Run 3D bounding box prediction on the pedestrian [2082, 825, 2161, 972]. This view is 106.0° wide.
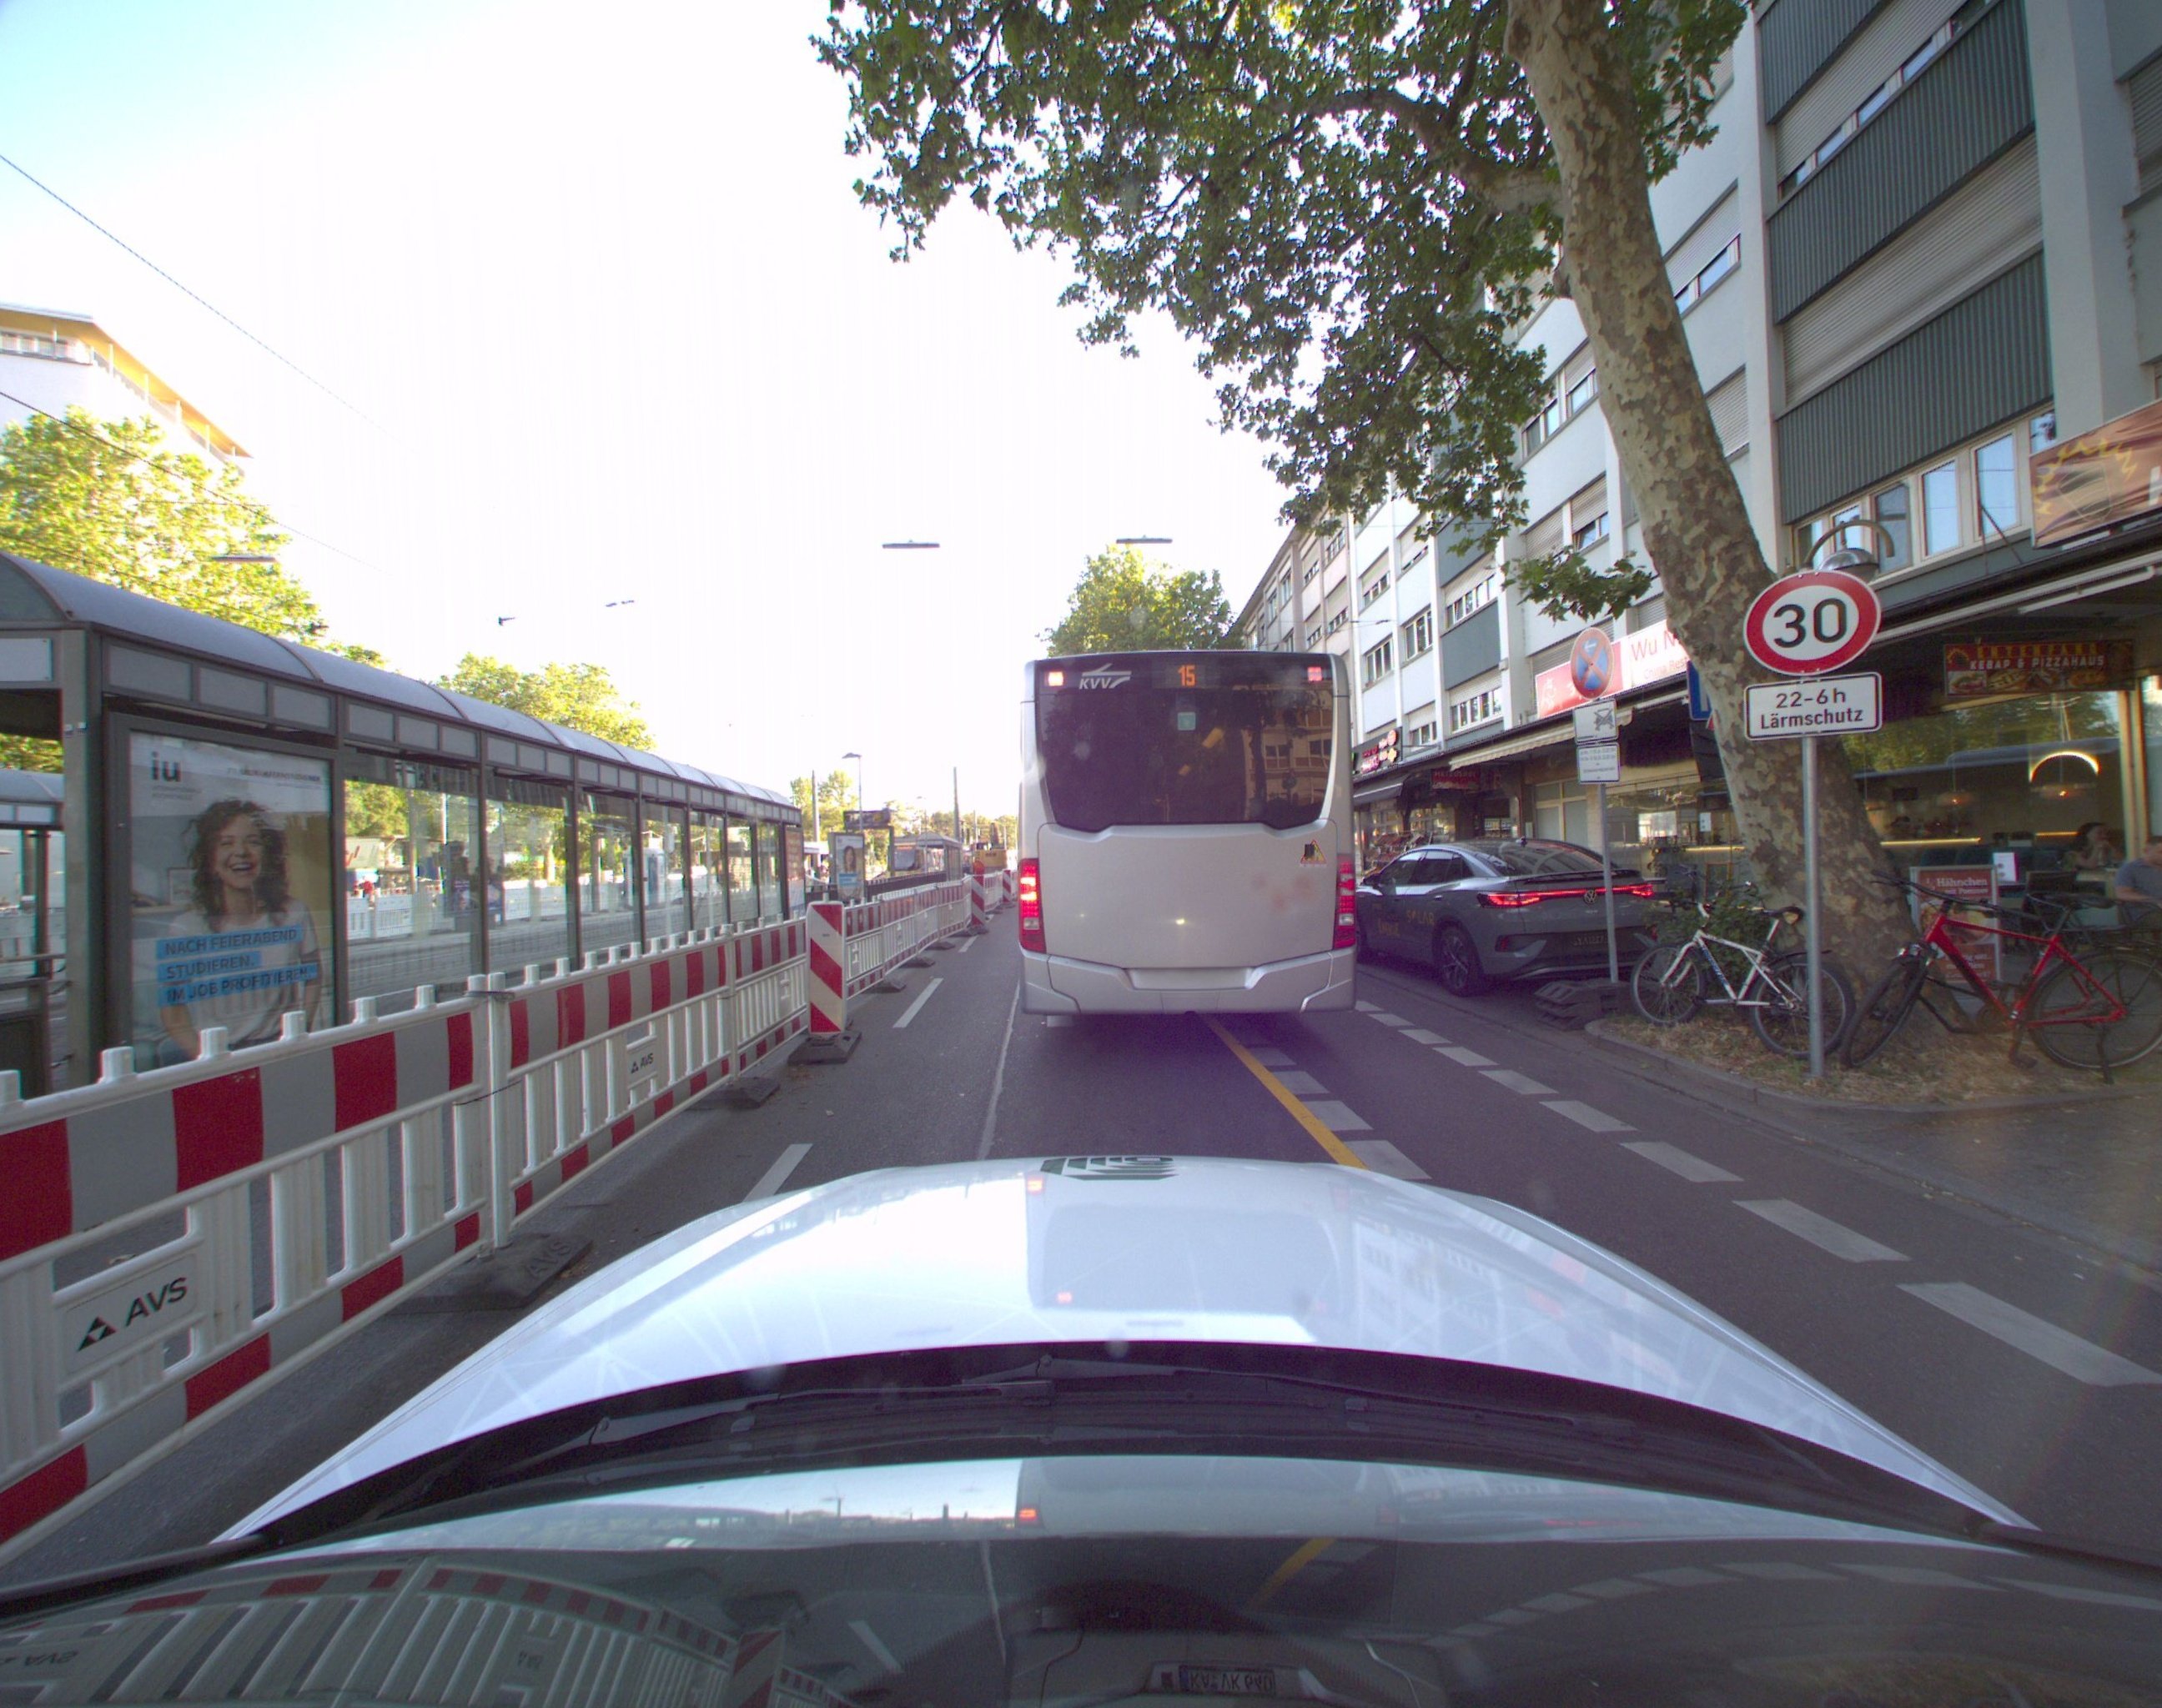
[{"bbox_3d":[9.602,0.380,7.213,0.555,1.245,0.692,-4,0,8],"label":"pedestrian"}]

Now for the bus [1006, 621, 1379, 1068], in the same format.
[{"bbox_3d":[0.907,-0.041,9.712,2.601,3.126,7.996,0,0,2],"label":"bus"}]

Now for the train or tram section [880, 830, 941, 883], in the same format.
[{"bbox_3d":[-12.401,0.189,60.319,2.681,3.534,11.756,0,-1,-3],"label":"train or tram section"}]

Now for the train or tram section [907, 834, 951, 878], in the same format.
[{"bbox_3d":[-13.270,0.249,71.898,2.682,3.558,11.559,0,-1,-5],"label":"train or tram section"}]

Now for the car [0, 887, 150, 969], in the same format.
[{"bbox_3d":[-24.047,1.671,18.159,1.988,1.662,3.997,-2,-1,-1],"label":"car"}]

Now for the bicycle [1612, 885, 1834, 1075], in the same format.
[{"bbox_3d":[4.567,0.836,5.924,0.550,1.155,1.446,-2,-1,6],"label":"bicycle"}]

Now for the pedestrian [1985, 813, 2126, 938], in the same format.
[{"bbox_3d":[11.076,0.229,9.280,0.836,1.333,0.963,-2,-1,-39],"label":"pedestrian"}]

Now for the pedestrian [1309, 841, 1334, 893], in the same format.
[{"bbox_3d":[7.878,0.424,26.636,0.658,1.666,0.603,-4,-1,18],"label":"pedestrian"}]

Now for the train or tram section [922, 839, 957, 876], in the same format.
[{"bbox_3d":[-14.343,0.392,83.397,2.683,3.533,11.558,0,-1,-6],"label":"train or tram section"}]

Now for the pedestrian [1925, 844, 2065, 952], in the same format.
[{"bbox_3d":[9.855,0.454,8.790,0.643,1.081,0.945,-2,-1,-39],"label":"pedestrian"}]

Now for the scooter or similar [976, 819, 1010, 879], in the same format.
[{"bbox_3d":[-6.961,-0.352,64.744,2.465,4.471,5.961,-2,-1,-5],"label":"scooter or similar"}]

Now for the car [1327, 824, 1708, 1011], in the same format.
[{"bbox_3d":[4.710,0.580,9.713,1.989,1.582,4.364,-4,0,-3],"label":"car"}]

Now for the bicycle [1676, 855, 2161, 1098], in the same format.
[{"bbox_3d":[5.050,0.722,4.782,2.370,1.155,0.557,-7,-2,14],"label":"bicycle"}]
